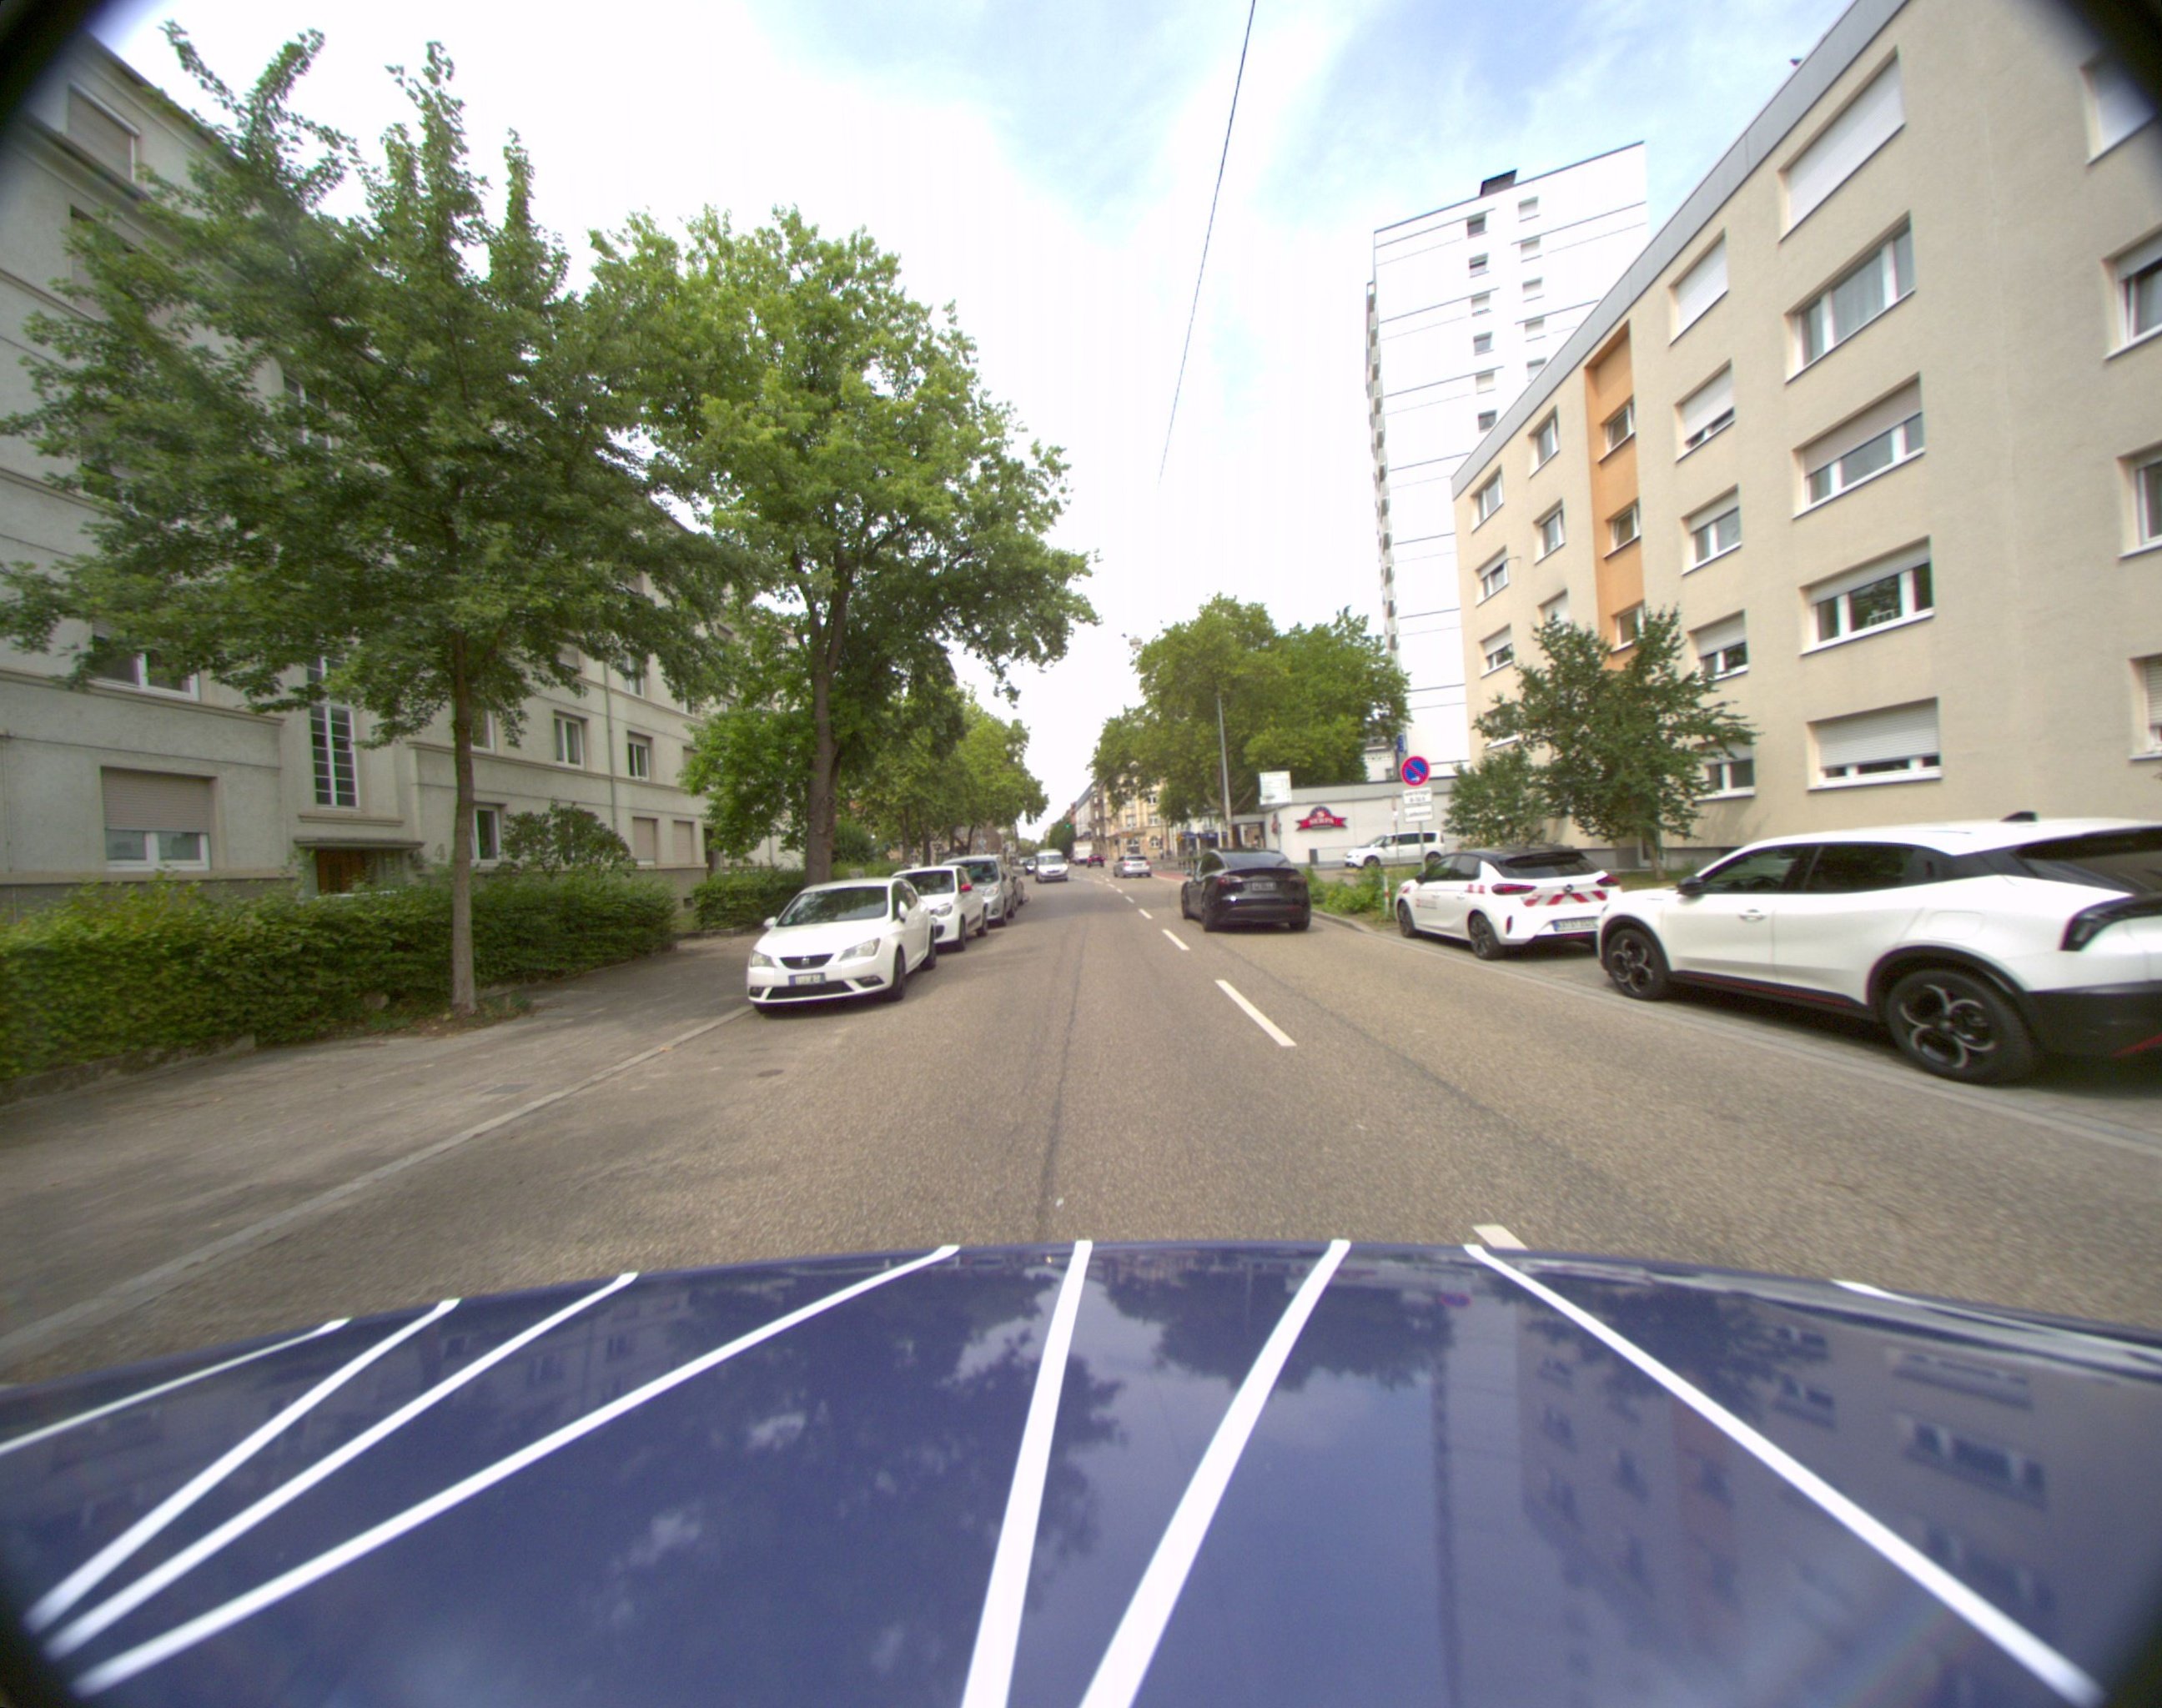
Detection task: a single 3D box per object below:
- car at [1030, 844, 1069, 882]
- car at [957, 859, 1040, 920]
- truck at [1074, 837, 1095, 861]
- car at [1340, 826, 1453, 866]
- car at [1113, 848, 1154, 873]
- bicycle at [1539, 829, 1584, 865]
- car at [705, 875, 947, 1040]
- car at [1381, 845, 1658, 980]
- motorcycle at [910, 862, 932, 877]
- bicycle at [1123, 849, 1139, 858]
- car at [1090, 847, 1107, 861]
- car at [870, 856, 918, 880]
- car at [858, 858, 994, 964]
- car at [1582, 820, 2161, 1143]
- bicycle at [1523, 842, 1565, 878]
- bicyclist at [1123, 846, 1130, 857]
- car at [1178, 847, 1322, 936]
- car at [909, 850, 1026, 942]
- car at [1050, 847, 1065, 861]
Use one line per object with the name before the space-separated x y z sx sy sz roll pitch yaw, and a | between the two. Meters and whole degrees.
car | -1.911 0.527 45.847 2.082 2.039 4.679 -3 0 -3
car | -2.494 1.052 24.064 1.922 1.436 4.237 -5 2 2
truck | 0.448 -0.678 104.212 2.548 3.089 7.018 -2 0 -2
car | 15.027 -0.359 36.382 4.640 1.676 1.850 -2 0 7
car | 3.239 0.398 47.330 1.848 1.442 4.183 -2 0 -5
bicycle | 14.669 -0.221 23.230 0.412 1.032 1.805 -3 1 8
car | -2.952 1.113 9.795 1.702 1.441 4.100 -4 0 -1
car | 5.962 0.680 10.969 1.712 1.464 3.989 -5 0 2
motorcycle | -14.519 1.408 68.963 1.859 1.215 0.530 -3 0 -7
bicycle | 6.463 -0.013 97.798 1.969 1.088 0.627 -1 0 2
car | 1.941 -0.014 85.638 1.701 1.509 4.000 -2 0 -1
car | -15.628 1.153 63.677 1.935 1.696 4.335 -3 0 16
car | -2.816 0.963 14.658 1.608 1.598 3.804 -5 0 2
car | 5.970 0.585 5.649 1.713 1.464 3.988 -5 0 -1
bicycle | 14.109 0.152 23.181 0.412 1.032 1.806 -3 1 9
bicyclist | 5.862 -0.306 97.739 0.752 1.334 0.492 -4 0 2
car | 3.235 0.646 15.539 1.956 1.512 4.613 -1 0 1
car | -2.674 0.914 19.145 1.922 1.854 4.846 -5 0 2
car | -3.738 0.032 120.650 1.929 1.925 4.946 -4 0 -4
